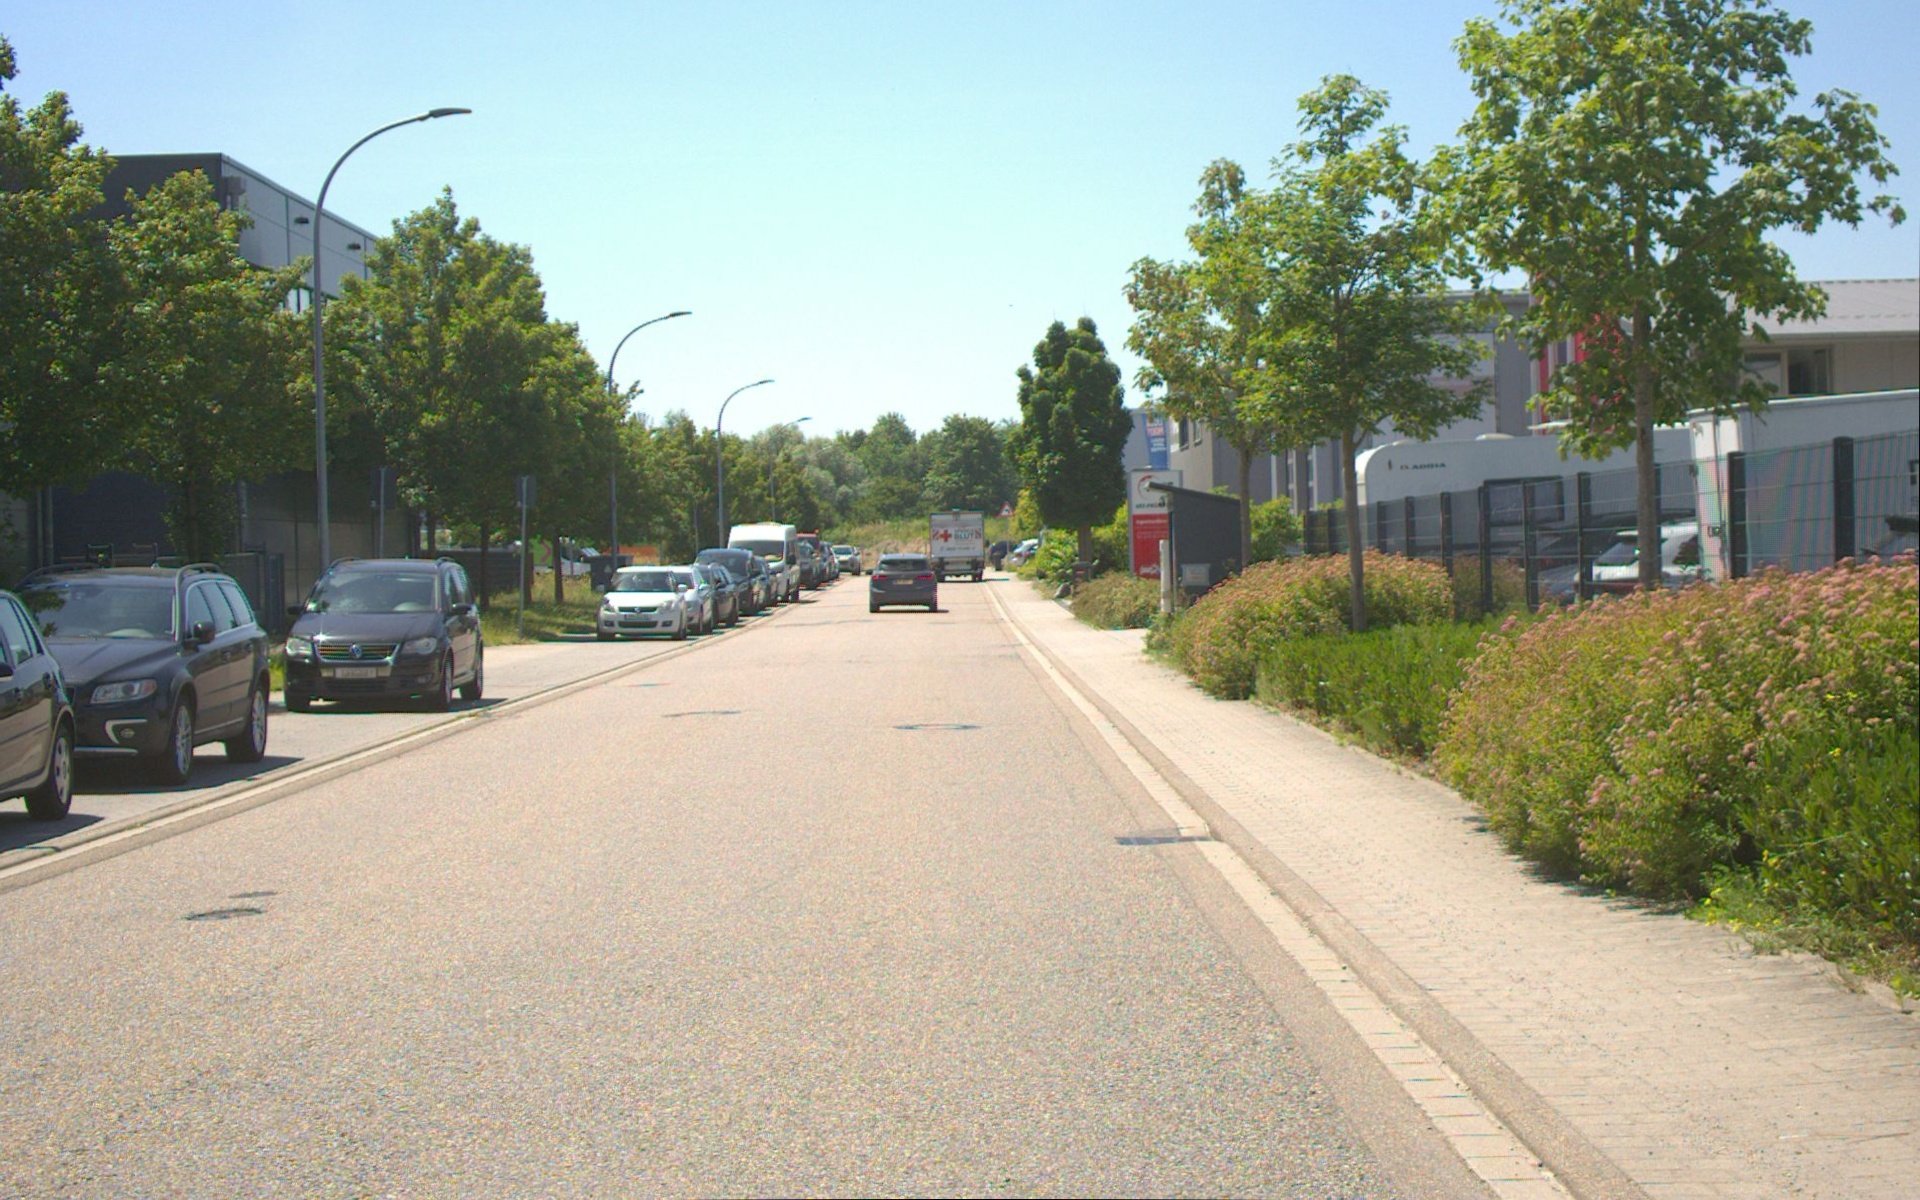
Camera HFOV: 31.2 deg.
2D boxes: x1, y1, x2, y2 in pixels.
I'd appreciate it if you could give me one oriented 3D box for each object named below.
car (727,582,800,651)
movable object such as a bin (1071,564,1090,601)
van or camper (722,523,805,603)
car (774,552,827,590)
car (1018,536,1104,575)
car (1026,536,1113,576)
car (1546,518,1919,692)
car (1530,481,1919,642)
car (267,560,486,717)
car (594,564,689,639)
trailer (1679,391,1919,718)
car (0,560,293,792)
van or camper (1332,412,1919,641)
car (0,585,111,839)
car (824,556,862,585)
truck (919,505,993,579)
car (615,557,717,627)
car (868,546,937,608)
[{"bbox_3d":[-5.357,0.420,94.217,1.799,1.808,4.252,0,1,-1],"label":"car"},{"bbox_3d":[3.481,-0.516,99.419,0.531,1.049,0.845,-1,0,2],"label":"movable object such as a bin"},{"bbox_3d":[-6.335,-1.207,111.346,2.079,2.474,6.130,1,1,2],"label":"van or camper"},{"bbox_3d":[-6.436,-1.181,138.858,1.799,1.482,4.252,0,1,2],"label":"car"},{"bbox_3d":[4.700,-2.056,160.173,3.875,1.744,1.752,1,1,-2],"label":"car"},{"bbox_3d":[5.010,-2.022,157.723,3.875,1.744,1.752,1,1,-2],"label":"car"},{"bbox_3d":[7.642,0.016,32.286,3.839,1.435,1.806,-3,1,-4],"label":"car"},{"bbox_3d":[8.496,-0.425,37.602,4.137,1.531,1.808,-3,1,-1],"label":"car"},{"bbox_3d":[-6.357,0.375,37.865,1.770,1.606,4.248,0,1,-1],"label":"car"},{"bbox_3d":[-6.460,0.005,70.051,1.720,1.471,3.858,0,1,-2],"label":"car"},{"bbox_3d":[7.195,-0.383,26.589,2.822,2.395,1.420,-3,1,-4],"label":"trailer"},{"bbox_3d":[-6.423,0.502,26.329,1.770,1.606,4.852,0,1,-1],"label":"car"},{"bbox_3d":[8.203,-0.904,42.877,6.757,2.576,2.636,-2,1,-1],"label":"van or camper"},{"bbox_3d":[-6.341,0.650,19.989,1.771,1.426,4.201,-1,1,0],"label":"car"},{"bbox_3d":[-6.413,-1.636,188.649,1.799,1.482,4.252,0,1,2],"label":"car"},{"bbox_3d":[-0.145,-2.383,142.497,2.933,2.963,6.419,1,1,0],"label":"truck"},{"bbox_3d":[-6.415,-0.205,75.311,1.799,1.471,4.555,0,1,0],"label":"car"},{"bbox_3d":[-1.523,-0.632,92.415,1.789,1.618,3.809,1,1,0],"label":"car"}]
